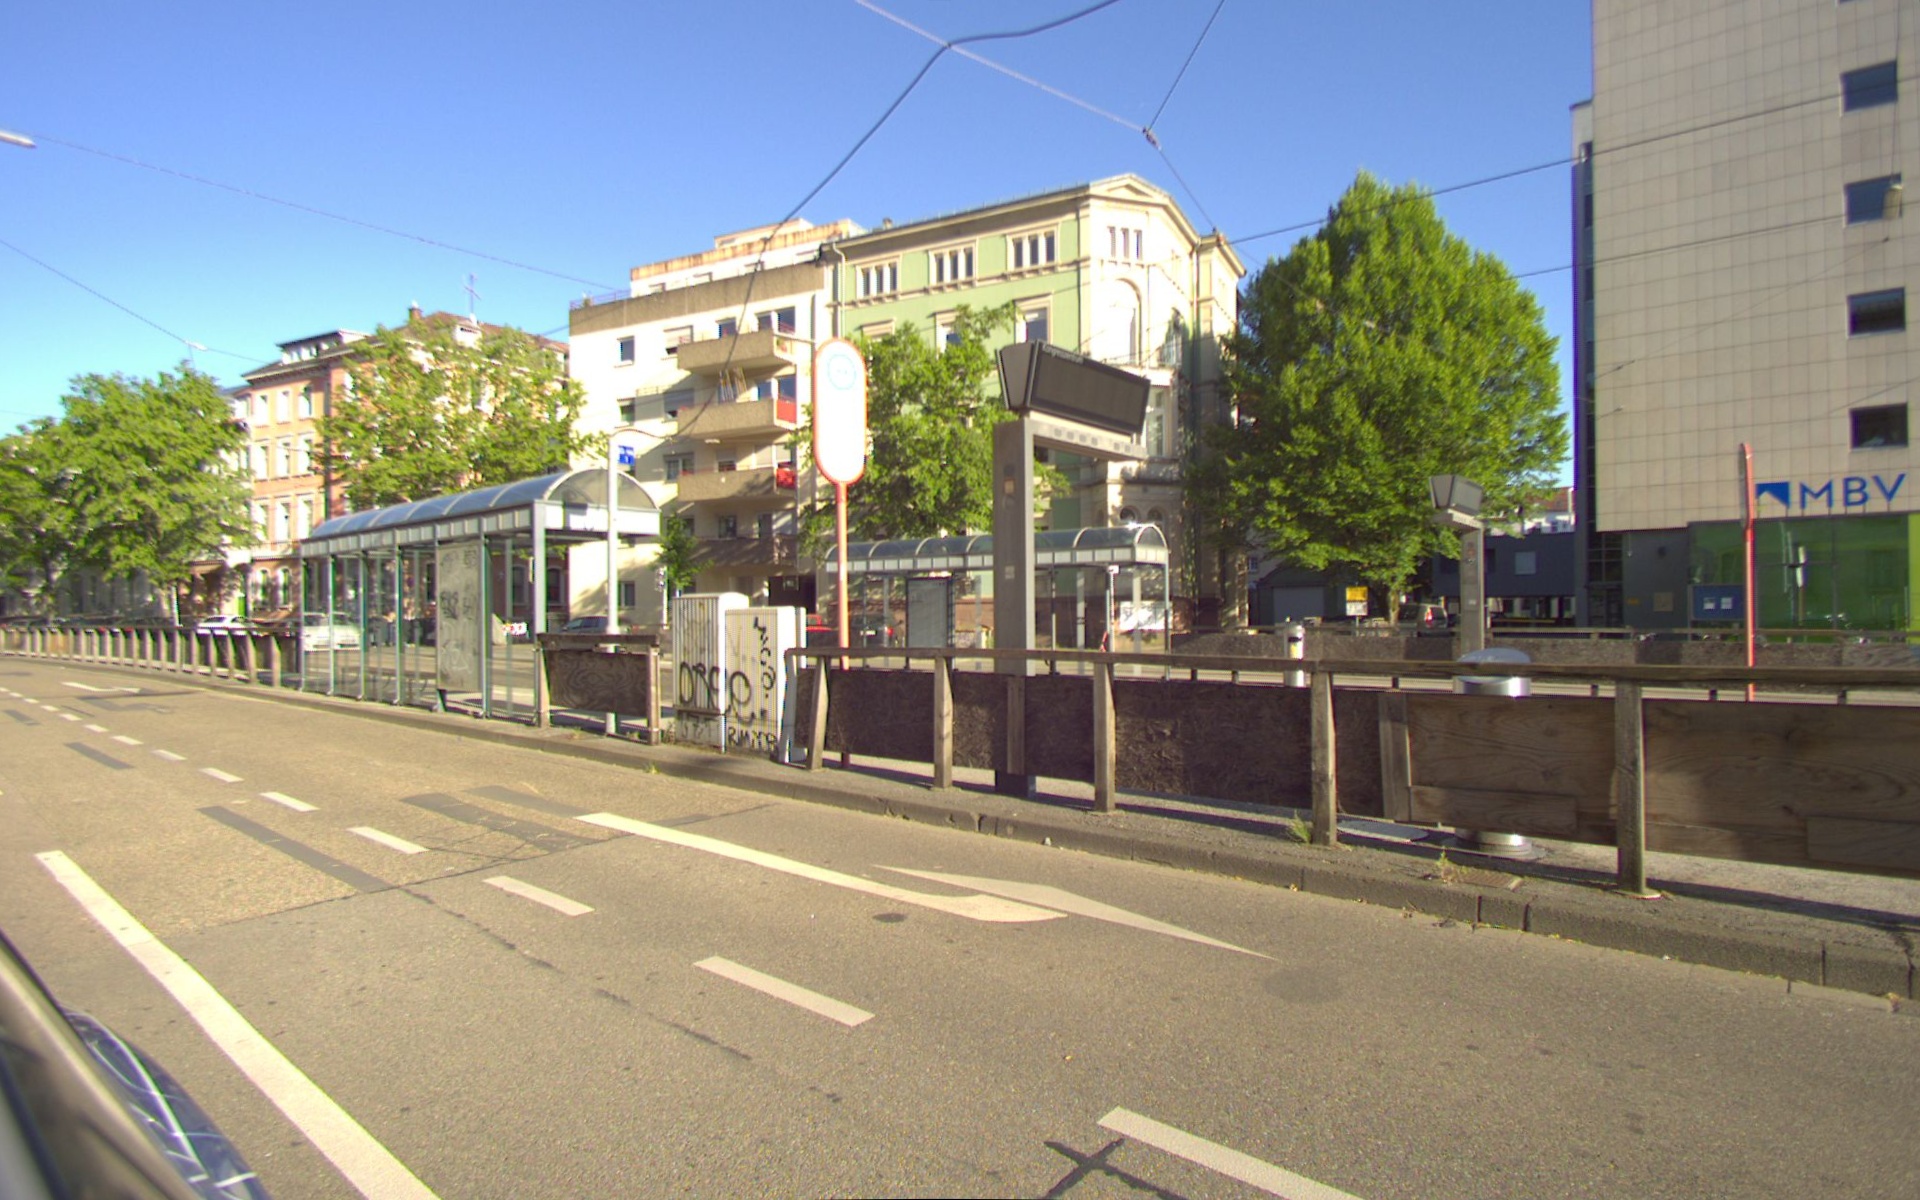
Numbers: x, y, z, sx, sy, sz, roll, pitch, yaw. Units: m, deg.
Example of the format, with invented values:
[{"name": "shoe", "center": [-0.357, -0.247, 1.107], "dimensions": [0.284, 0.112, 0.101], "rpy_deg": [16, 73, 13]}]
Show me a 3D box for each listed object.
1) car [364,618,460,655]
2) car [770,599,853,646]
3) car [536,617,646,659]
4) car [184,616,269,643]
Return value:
[{"name": "car", "center": [-23.770, 1.572, 43.875], "dimensions": [3.987, 1.541, 1.978], "rpy_deg": [-1, -2, 32]}, {"name": "car", "center": [-6.687, 1.033, 45.865], "dimensions": [1.791, 2.029, 3.963], "rpy_deg": [-1, -1, 27]}, {"name": "car", "center": [-14.120, 1.428, 38.697], "dimensions": [3.987, 1.541, 1.978], "rpy_deg": [-1, -2, 32]}, {"name": "car", "center": [-39.143, 1.557, 54.120], "dimensions": [1.565, 1.360, 3.631], "rpy_deg": [0, -1, 11]}]
